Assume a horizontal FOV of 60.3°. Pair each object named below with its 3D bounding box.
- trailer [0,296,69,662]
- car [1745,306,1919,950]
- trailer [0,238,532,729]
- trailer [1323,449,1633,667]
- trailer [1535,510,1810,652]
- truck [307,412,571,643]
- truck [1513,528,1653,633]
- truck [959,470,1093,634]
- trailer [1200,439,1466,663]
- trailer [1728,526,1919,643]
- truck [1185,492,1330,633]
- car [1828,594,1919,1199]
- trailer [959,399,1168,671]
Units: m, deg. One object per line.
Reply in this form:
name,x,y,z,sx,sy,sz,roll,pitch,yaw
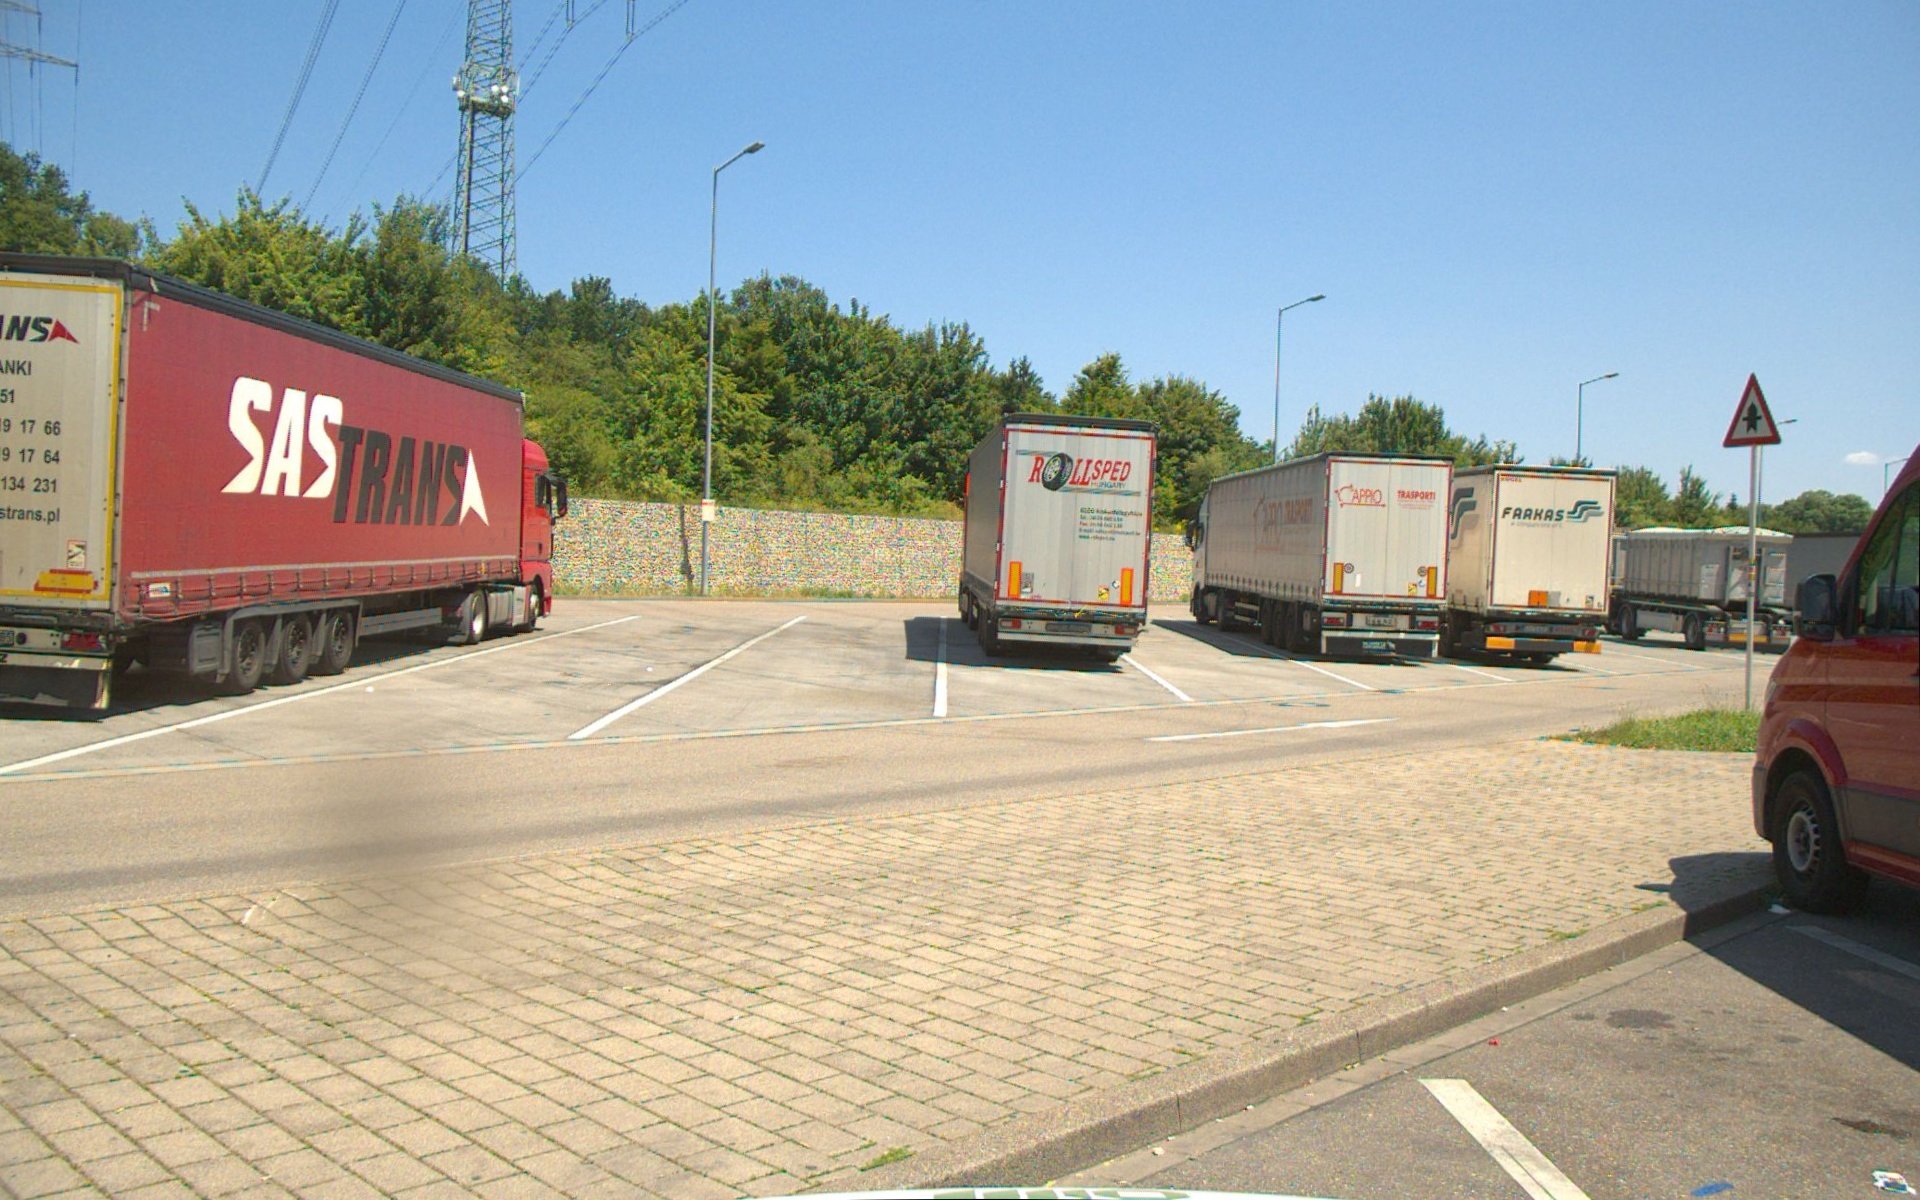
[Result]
trailer,-12.528,-1.305,15.705,2.673,4.282,10.170,2,2,-1
car,5.008,0.155,5.562,2.023,2.742,6.397,1,1,4
trailer,-8.683,-1.298,21.188,2.848,4.203,13.723,2,2,-1
trailer,11.766,-1.043,39.635,2.781,4.204,13.722,2,2,-1
trailer,21.923,-0.723,52.210,2.780,3.781,13.726,2,2,1
truck,-8.797,-1.210,28.623,2.794,3.487,5.482,2,2,-1
truck,22.004,-0.755,58.714,2.794,3.423,5.484,2,2,0
truck,1.478,-1.159,39.850,2.794,3.544,5.482,2,2,-1
trailer,8.206,-1.160,38.830,2.781,4.204,13.722,2,2,-1
trailer,34.935,-0.697,65.415,2.780,4.119,13.726,2,2,1
truck,8.092,-1.062,45.640,2.794,3.544,5.482,2,2,-1
car,2.597,0.793,1.158,1.703,1.508,3.813,1,1,-6
trailer,1.646,-1.245,33.241,2.848,4.204,13.720,2,2,-1
